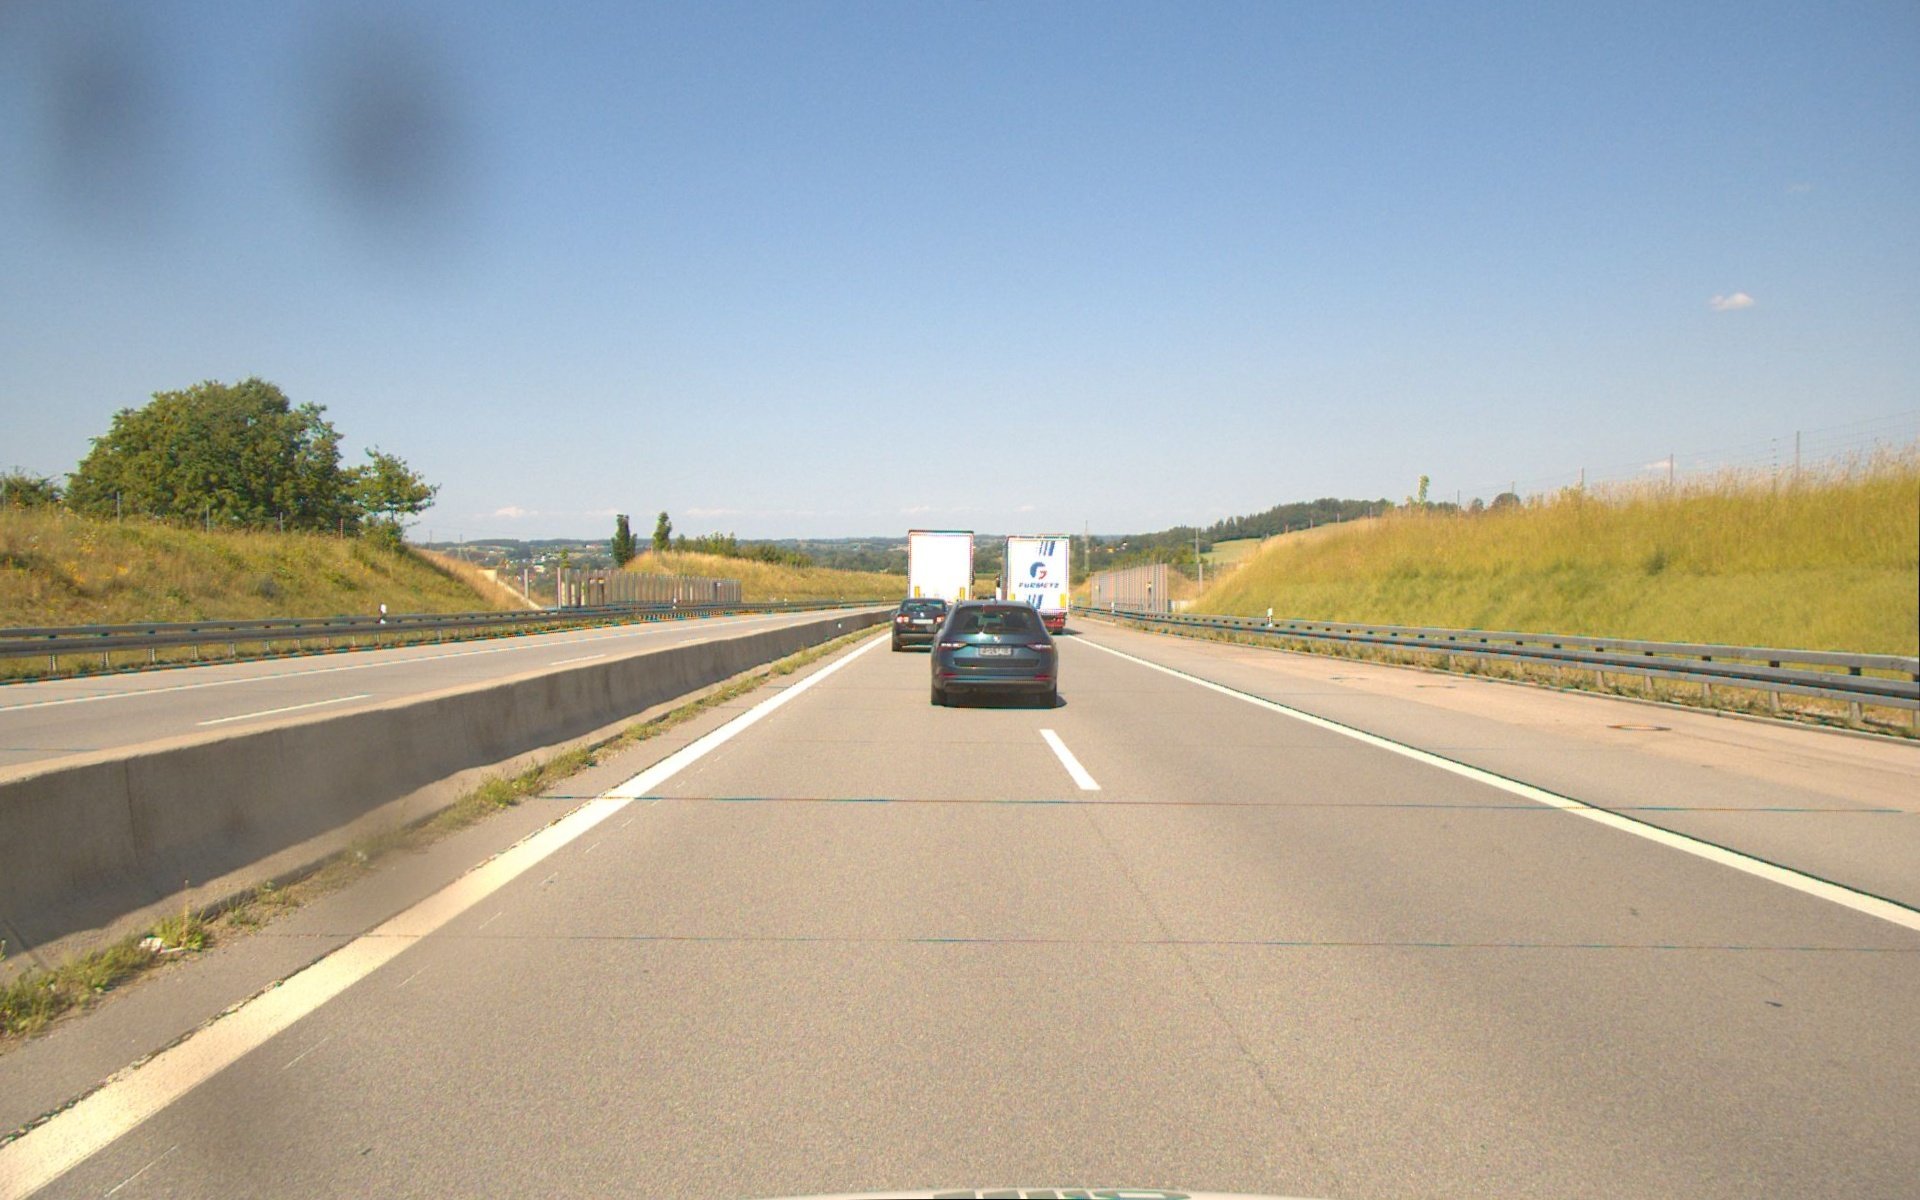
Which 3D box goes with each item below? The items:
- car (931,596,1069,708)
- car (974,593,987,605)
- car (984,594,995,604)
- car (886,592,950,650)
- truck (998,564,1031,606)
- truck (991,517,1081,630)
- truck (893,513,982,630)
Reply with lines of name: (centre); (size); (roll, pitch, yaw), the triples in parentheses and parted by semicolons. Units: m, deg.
car: (0.498, 0.684, 23.822); (1.741, 1.466, 3.787); (0, 0, -2)
car: (2.651, -0.143, 216.306); (1.665, 1.466, 4.000); (0, 0, 0)
car: (4.671, -0.154, 261.202); (1.665, 1.466, 4.000); (0, 0, 0)
car: (-1.203, 0.547, 46.043); (1.666, 1.466, 3.998); (-2, 0, -2)
truck: (6.153, -1.661, 188.347); (3.530, 4.457, 11.235); (-2, 0, 1)
truck: (3.228, -1.113, 72.914); (3.530, 4.457, 11.235); (-2, 0, 1)
truck: (-0.798, -1.145, 70.016); (3.144, 4.457, 11.236); (-2, 0, 2)
